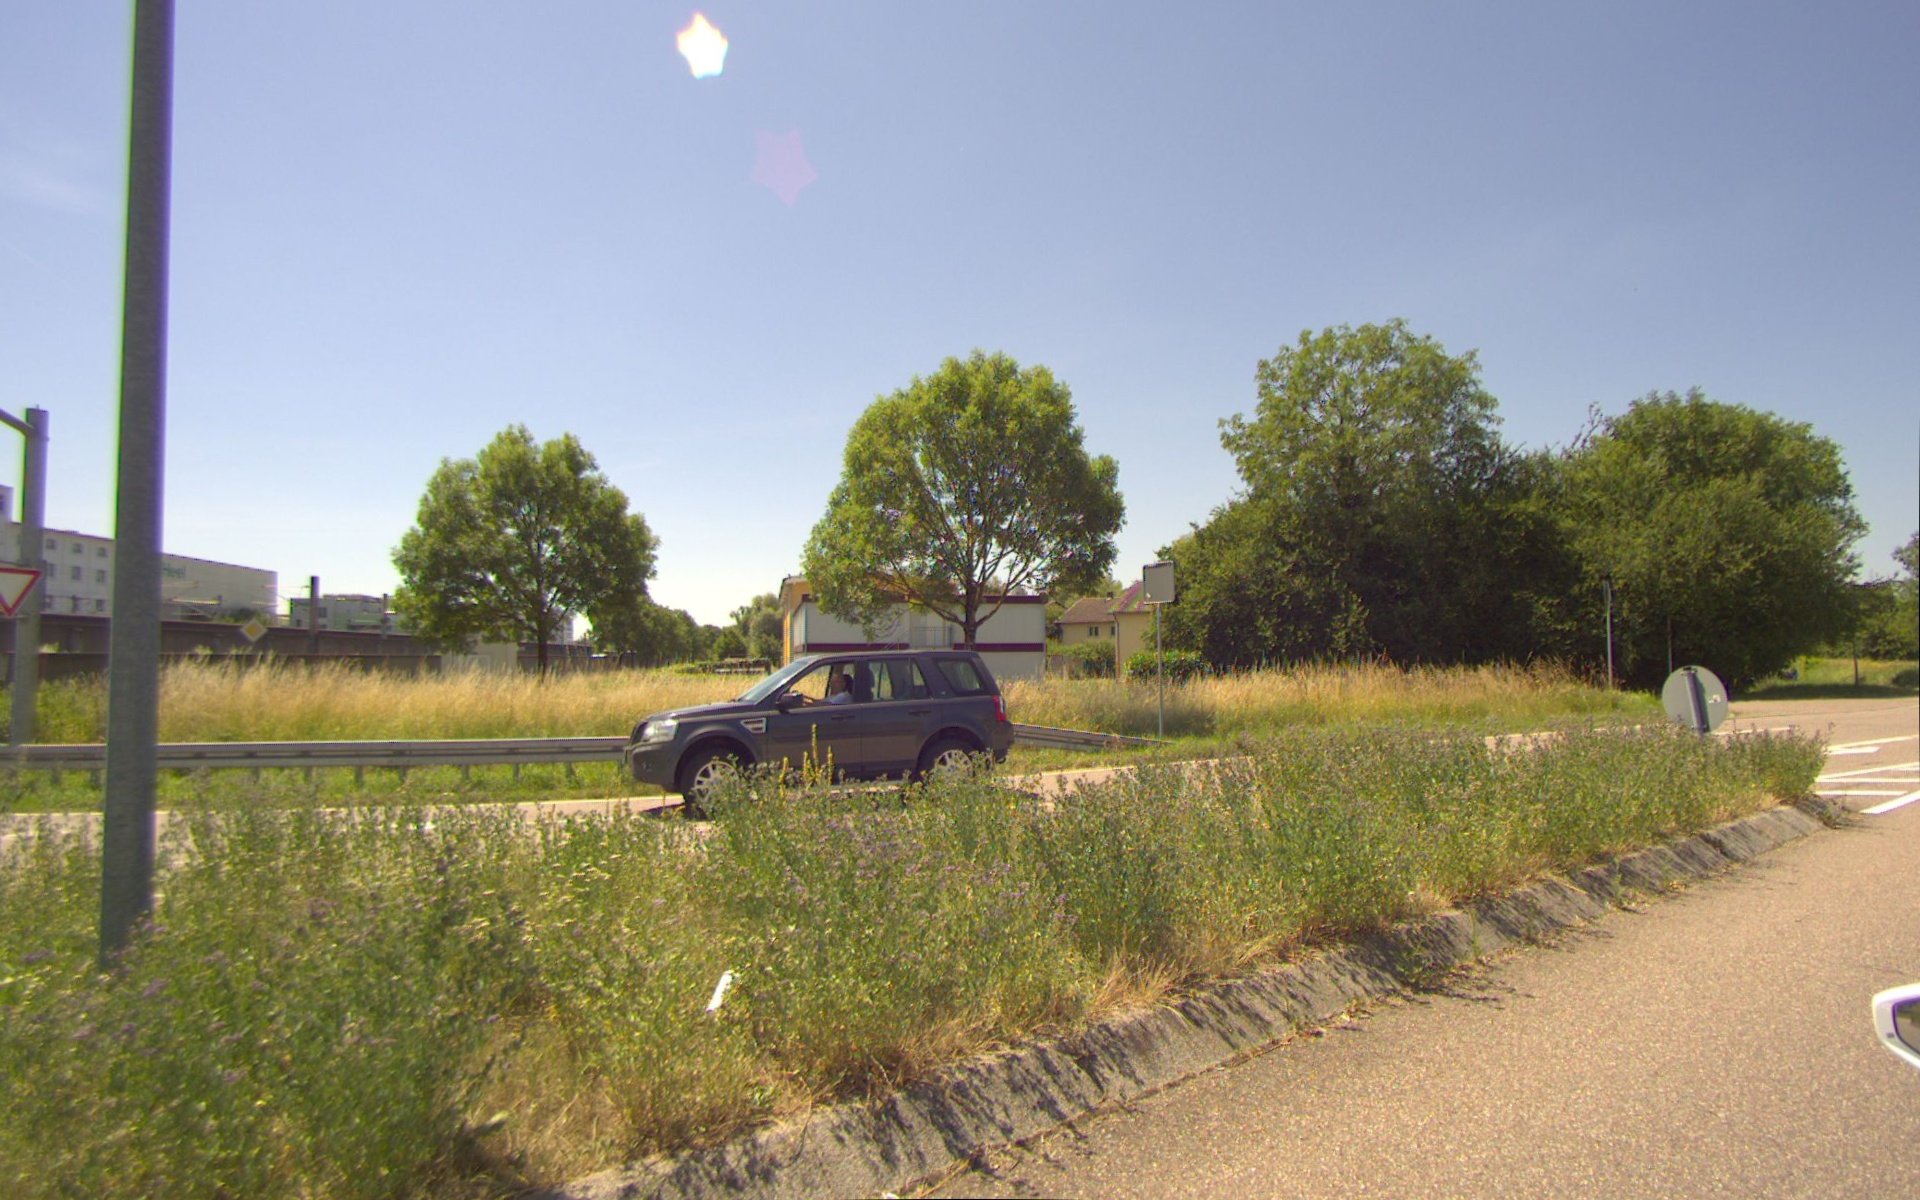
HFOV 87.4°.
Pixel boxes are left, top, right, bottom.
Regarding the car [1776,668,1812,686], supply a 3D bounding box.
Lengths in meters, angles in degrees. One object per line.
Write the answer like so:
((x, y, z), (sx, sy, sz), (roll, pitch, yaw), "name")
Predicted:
((79.260, 7.337, 95.519), (1.965, 1.616, 3.993), (-3, -4, 30), "car")

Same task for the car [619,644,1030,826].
((-1.622, 1.460, 11.703), (4.416, 1.744, 1.992), (0, -5, -21), "car")
